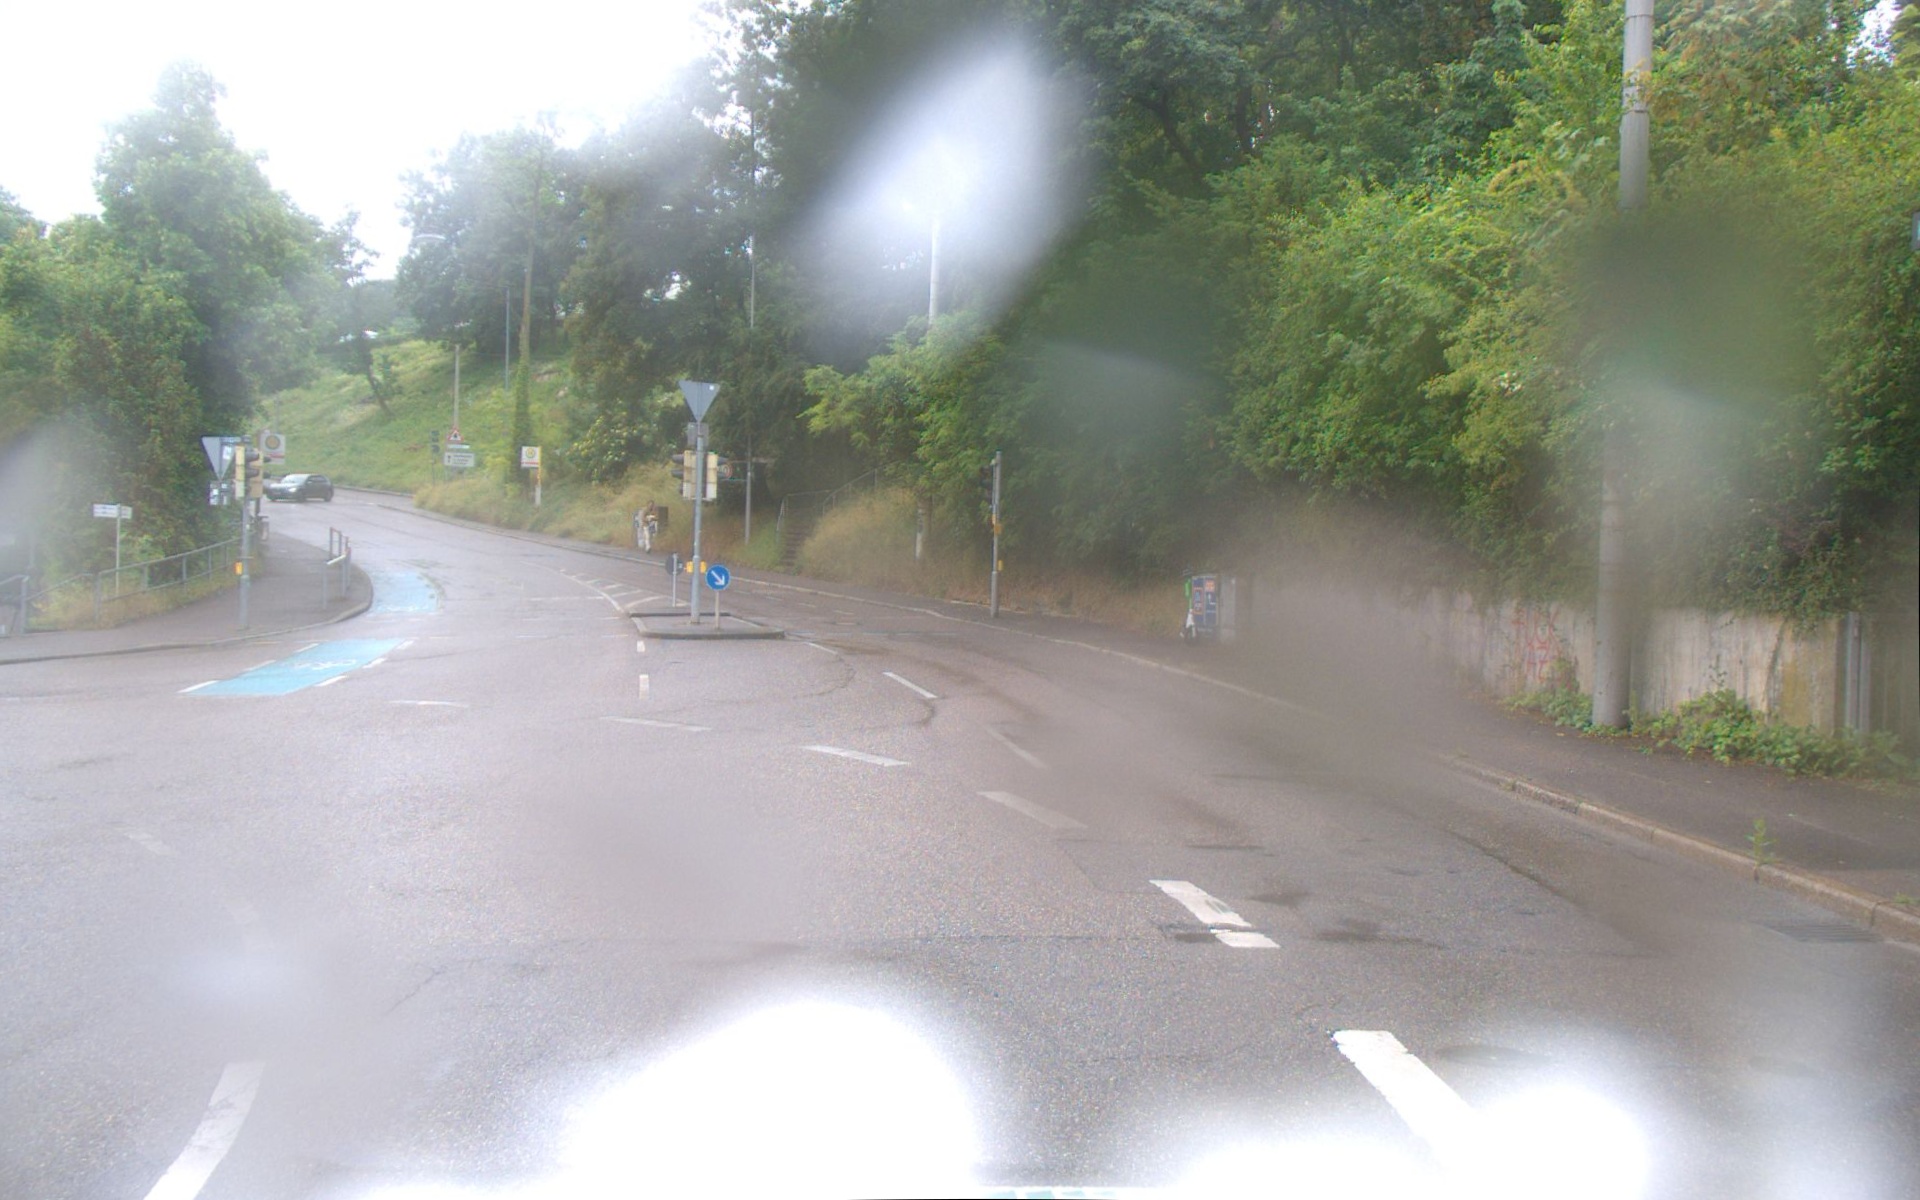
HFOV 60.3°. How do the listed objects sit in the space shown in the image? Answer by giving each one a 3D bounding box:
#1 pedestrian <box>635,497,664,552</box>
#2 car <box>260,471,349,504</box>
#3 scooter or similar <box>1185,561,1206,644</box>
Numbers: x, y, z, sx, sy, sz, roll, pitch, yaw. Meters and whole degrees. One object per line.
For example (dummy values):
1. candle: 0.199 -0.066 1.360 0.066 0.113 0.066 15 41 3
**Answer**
1. pedestrian: -10.390 -2.520 55.334 0.867 1.767 0.861 1 -1 -18
2. car: -34.983 -5.988 88.372 1.917 1.538 4.404 3 3 22
3. scooter or similar: 3.774 0.031 26.535 0.315 1.302 0.752 0 3 7
